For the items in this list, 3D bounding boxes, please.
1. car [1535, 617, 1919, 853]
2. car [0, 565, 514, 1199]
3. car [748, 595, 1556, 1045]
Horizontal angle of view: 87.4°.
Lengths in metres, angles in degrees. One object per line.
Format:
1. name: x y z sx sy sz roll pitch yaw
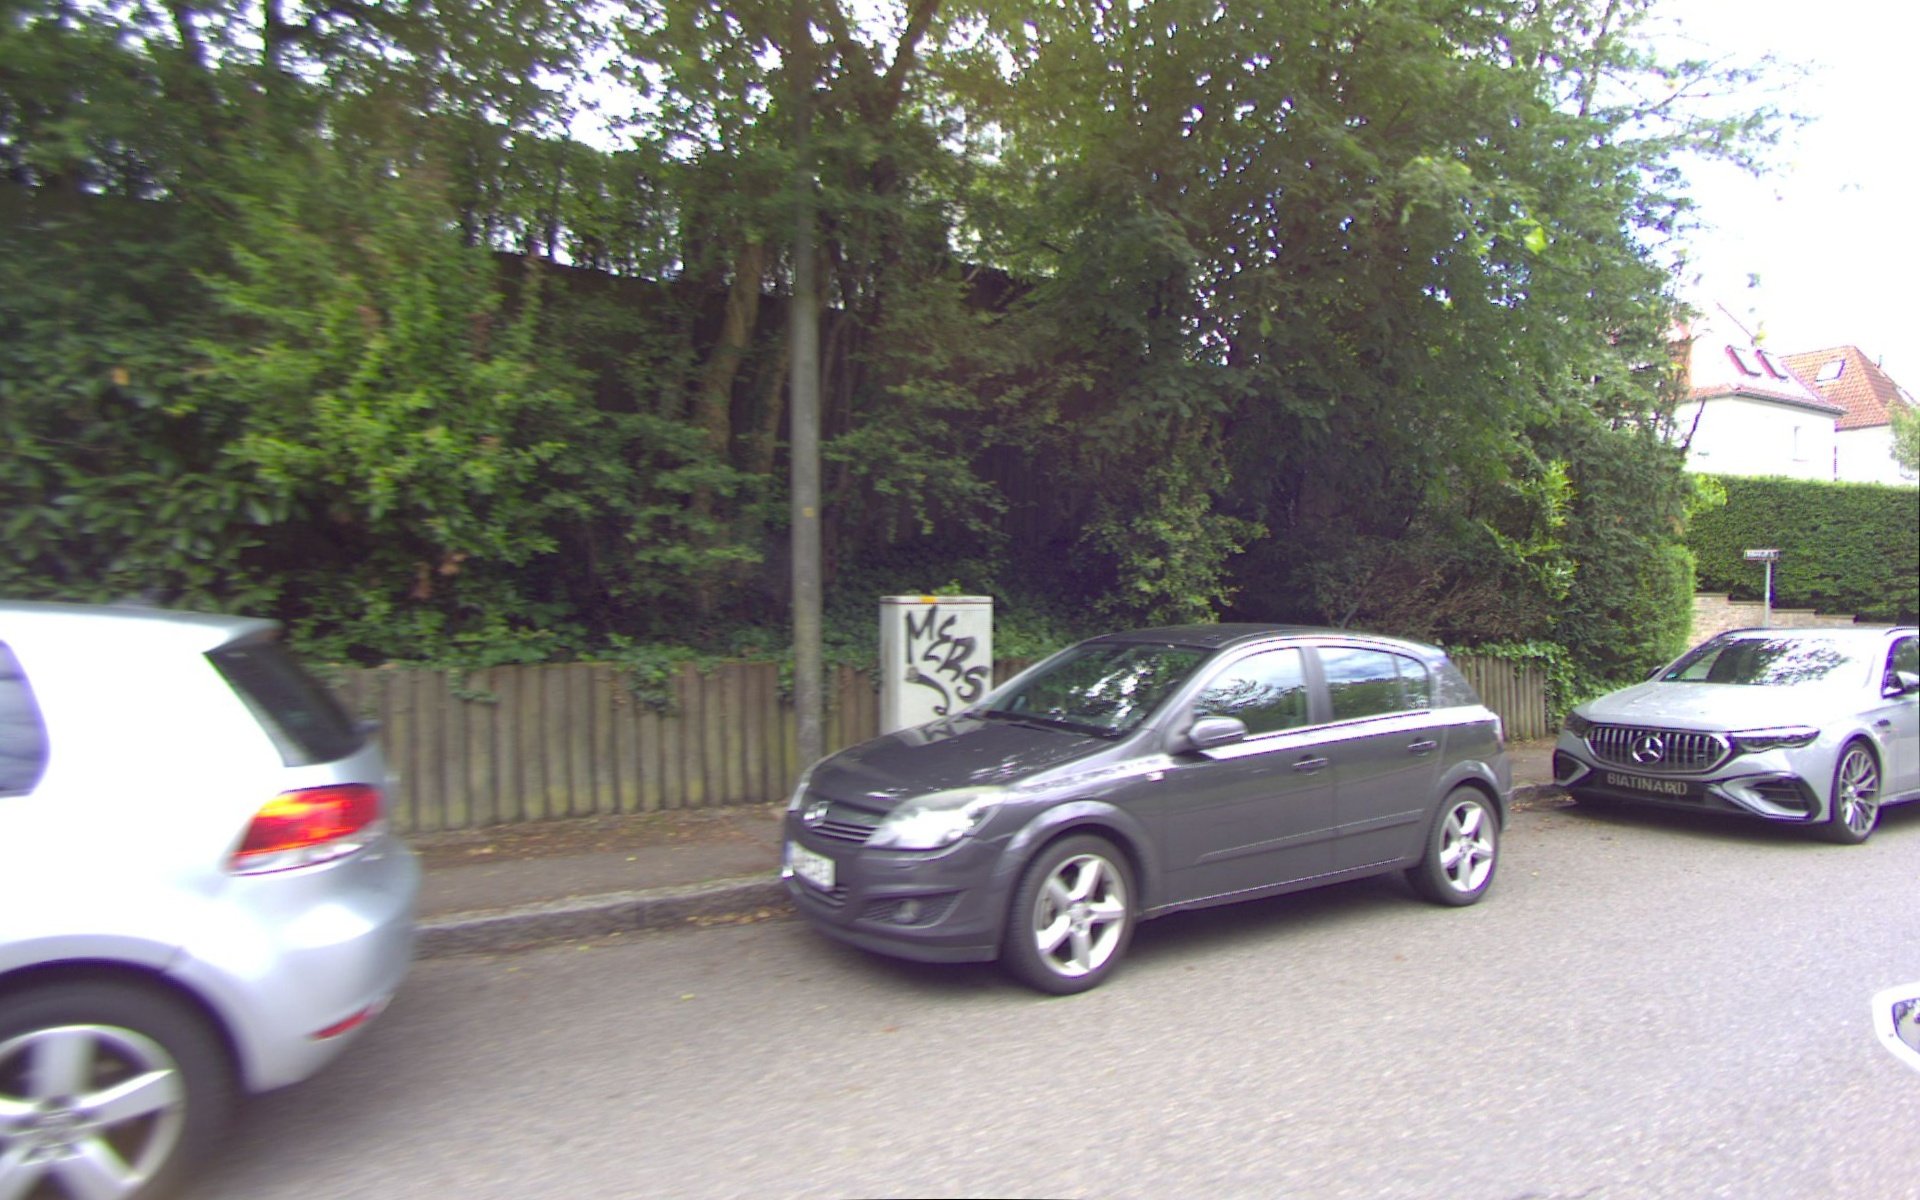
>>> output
1. car: 7.176 0.953 8.484 4.803 1.524 1.791 1 -2 -29
2. car: -3.301 0.693 2.347 3.962 1.524 1.712 1 -2 -31
3. car: 1.116 0.816 5.212 4.014 1.524 1.712 1 -2 -31
